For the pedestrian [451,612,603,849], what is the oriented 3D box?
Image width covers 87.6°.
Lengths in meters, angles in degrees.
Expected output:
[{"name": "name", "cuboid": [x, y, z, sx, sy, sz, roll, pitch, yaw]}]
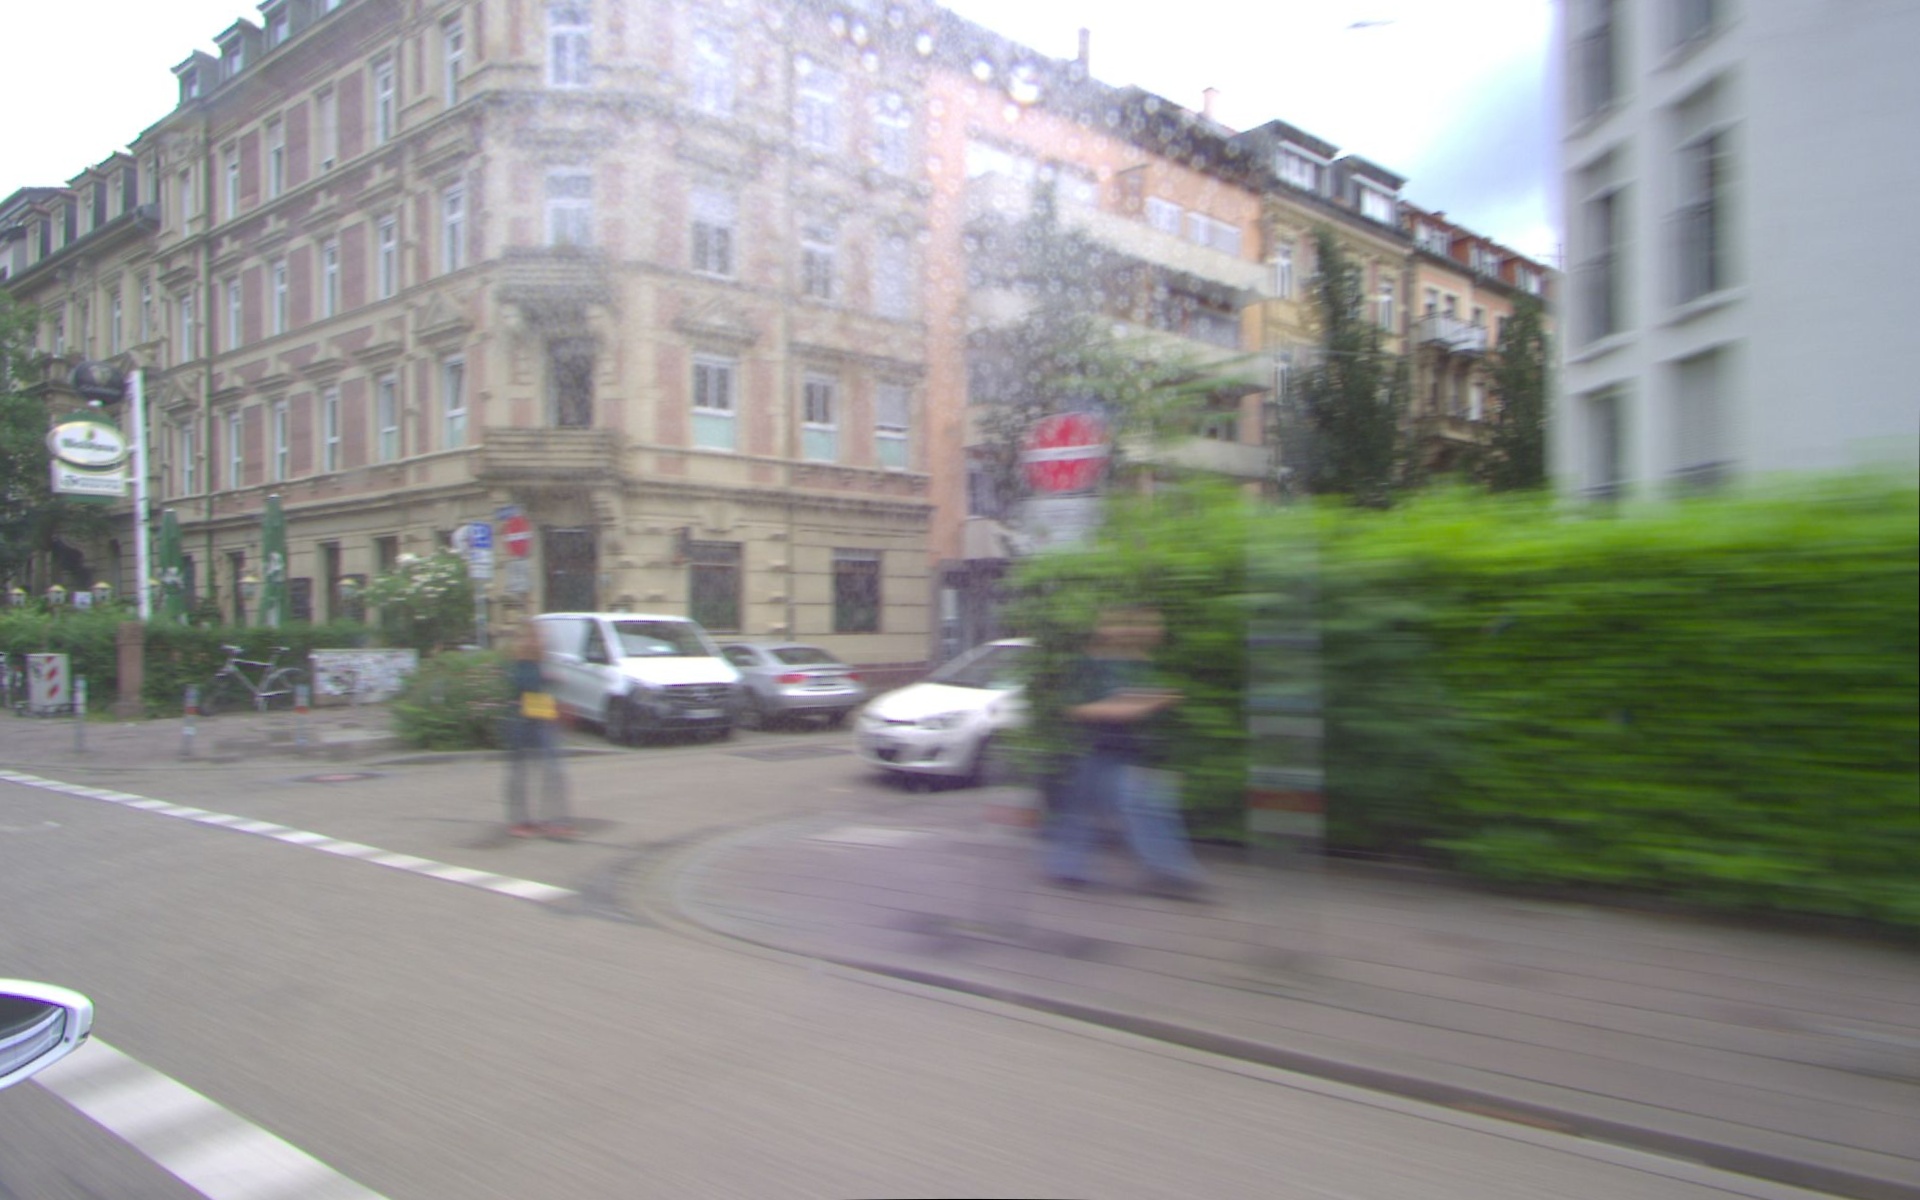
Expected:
[{"name": "pedestrian", "cuboid": [-3.342, 0.938, 7.717, 0.866, 1.677, 0.901, 1, -1, -38]}]

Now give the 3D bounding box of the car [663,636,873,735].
[{"name": "car", "cuboid": [-3.403, 1.374, 17.270, 1.684, 1.384, 3.960, 1, 0, -44]}]

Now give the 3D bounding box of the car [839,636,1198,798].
[{"name": "car", "cuboid": [0.722, 1.150, 11.070, 3.773, 1.449, 1.660, 1, -1, -35]}]

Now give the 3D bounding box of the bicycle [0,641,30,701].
[{"name": "bicycle", "cuboid": [-17.730, 1.301, 18.540, 1.822, 1.055, 0.301, -1, -1, 33]}]

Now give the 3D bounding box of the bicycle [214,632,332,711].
[{"name": "bicycle", "cuboid": [-11.805, 1.199, 17.242, 0.507, 1.294, 1.595, -1, -1, 43]}]

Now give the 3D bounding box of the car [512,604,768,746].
[{"name": "car", "cuboid": [-5.264, 1.083, 16.013, 2.038, 1.902, 4.983, 1, -2, -42]}]

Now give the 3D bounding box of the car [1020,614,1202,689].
[{"name": "car", "cuboid": [3.361, 1.153, 23.003, 1.751, 1.539, 4.189, 0, -2, -34]}]

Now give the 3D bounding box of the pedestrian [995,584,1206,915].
[{"name": "pedestrian", "cuboid": [0.780, 0.757, 5.590, 0.787, 1.657, 0.828, -1, 0, -42]}]
